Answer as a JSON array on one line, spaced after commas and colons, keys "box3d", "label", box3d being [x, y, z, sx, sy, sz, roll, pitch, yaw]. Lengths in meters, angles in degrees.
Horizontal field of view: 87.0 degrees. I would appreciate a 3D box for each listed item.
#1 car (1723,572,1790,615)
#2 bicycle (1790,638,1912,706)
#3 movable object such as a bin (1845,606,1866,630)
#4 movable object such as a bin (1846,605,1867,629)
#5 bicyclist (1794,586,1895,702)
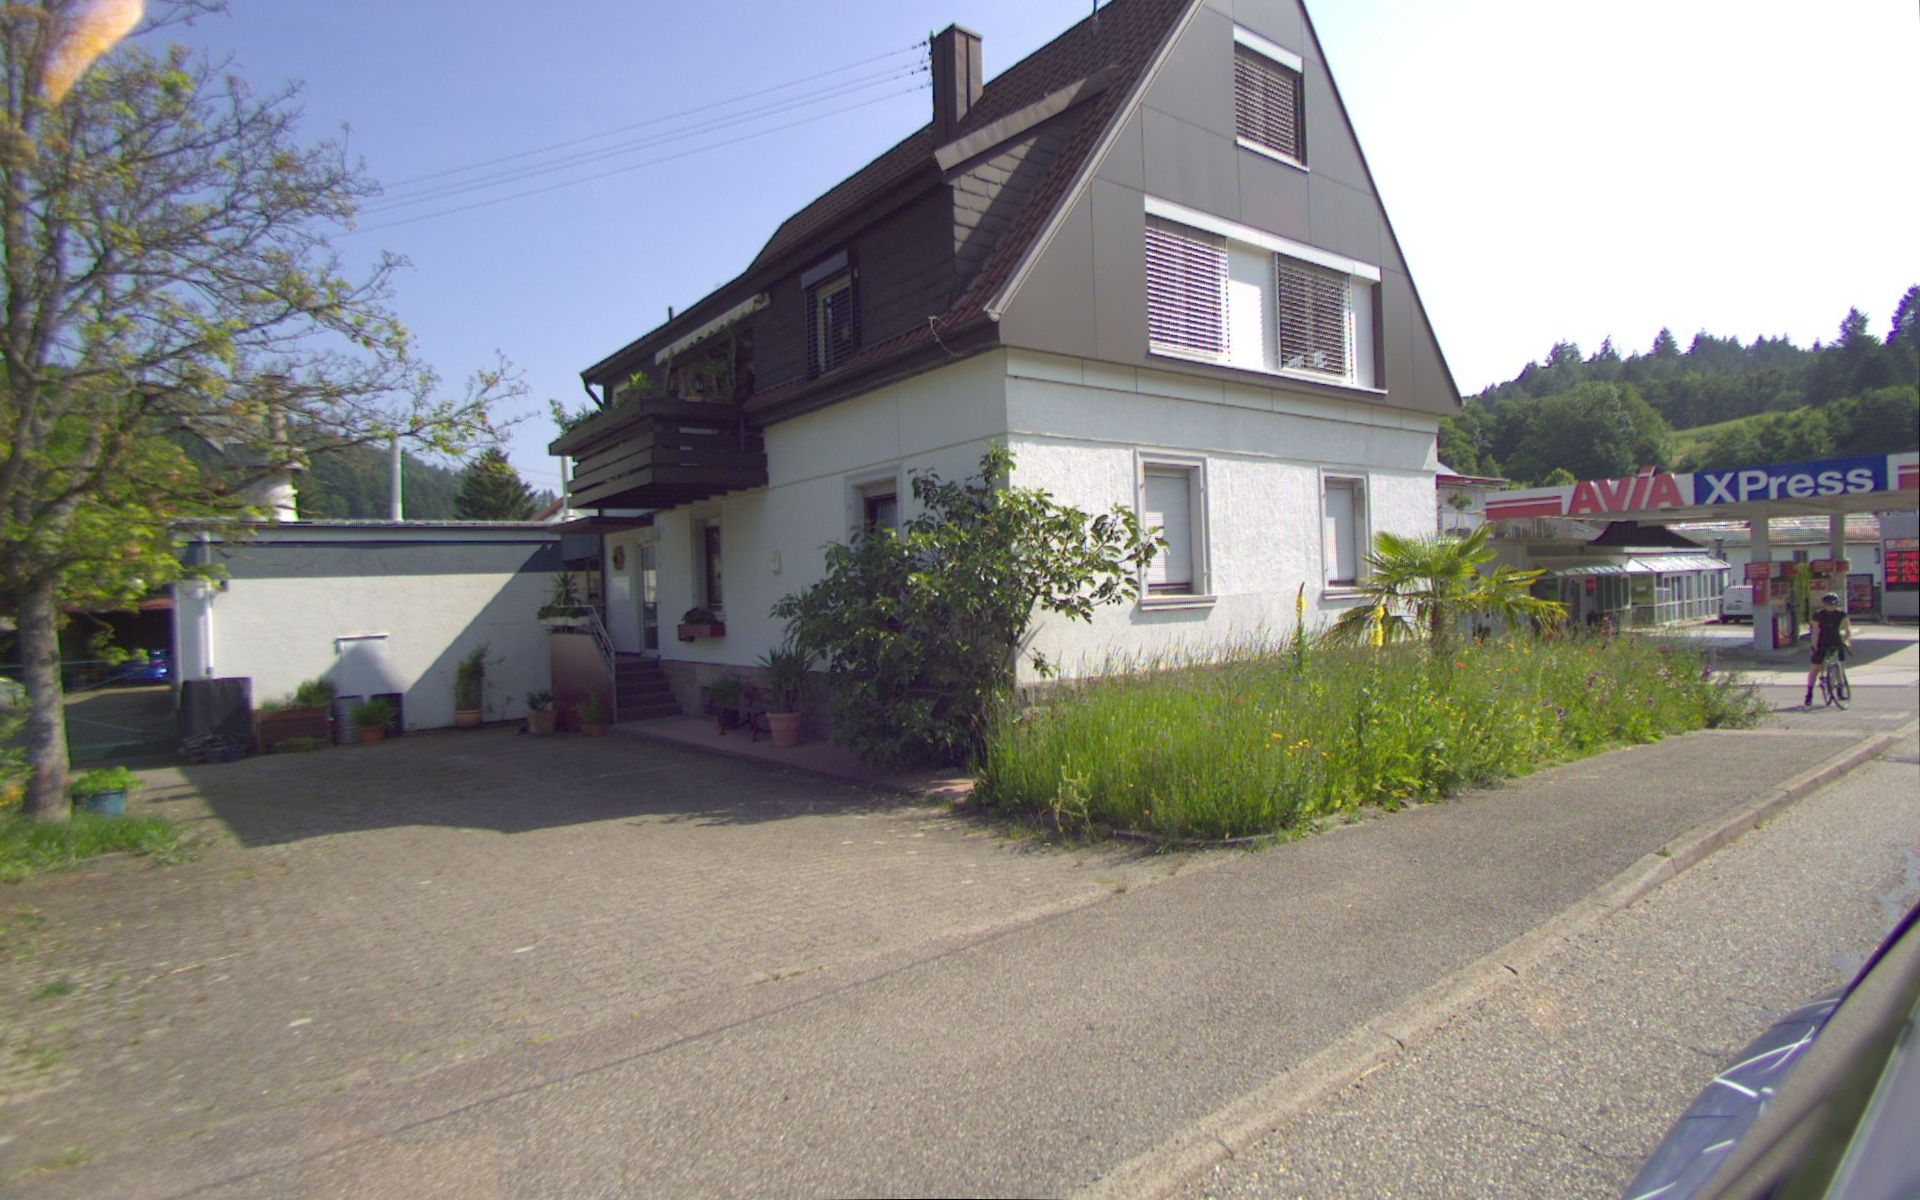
[{"box3d": [37.113, -0.317, 47.111, 3.931, 1.839, 1.682, -2, -2, -41], "label": "car"}, {"box3d": [13.177, 1.051, 15.036, 0.682, 0.930, 1.934, -3, -4, 21], "label": "bicycle"}, {"box3d": [32.335, 0.649, 36.544, 0.487, 0.856, 0.480, 0, -2, -42], "label": "movable object such as a bin"}, {"box3d": [32.745, 0.635, 36.965, 0.519, 0.856, 0.480, 0, -2, -42], "label": "movable object such as a bin"}, {"box3d": [13.197, 0.663, 15.143, 0.682, 1.654, 1.132, -3, -4, 22], "label": "bicyclist"}]
